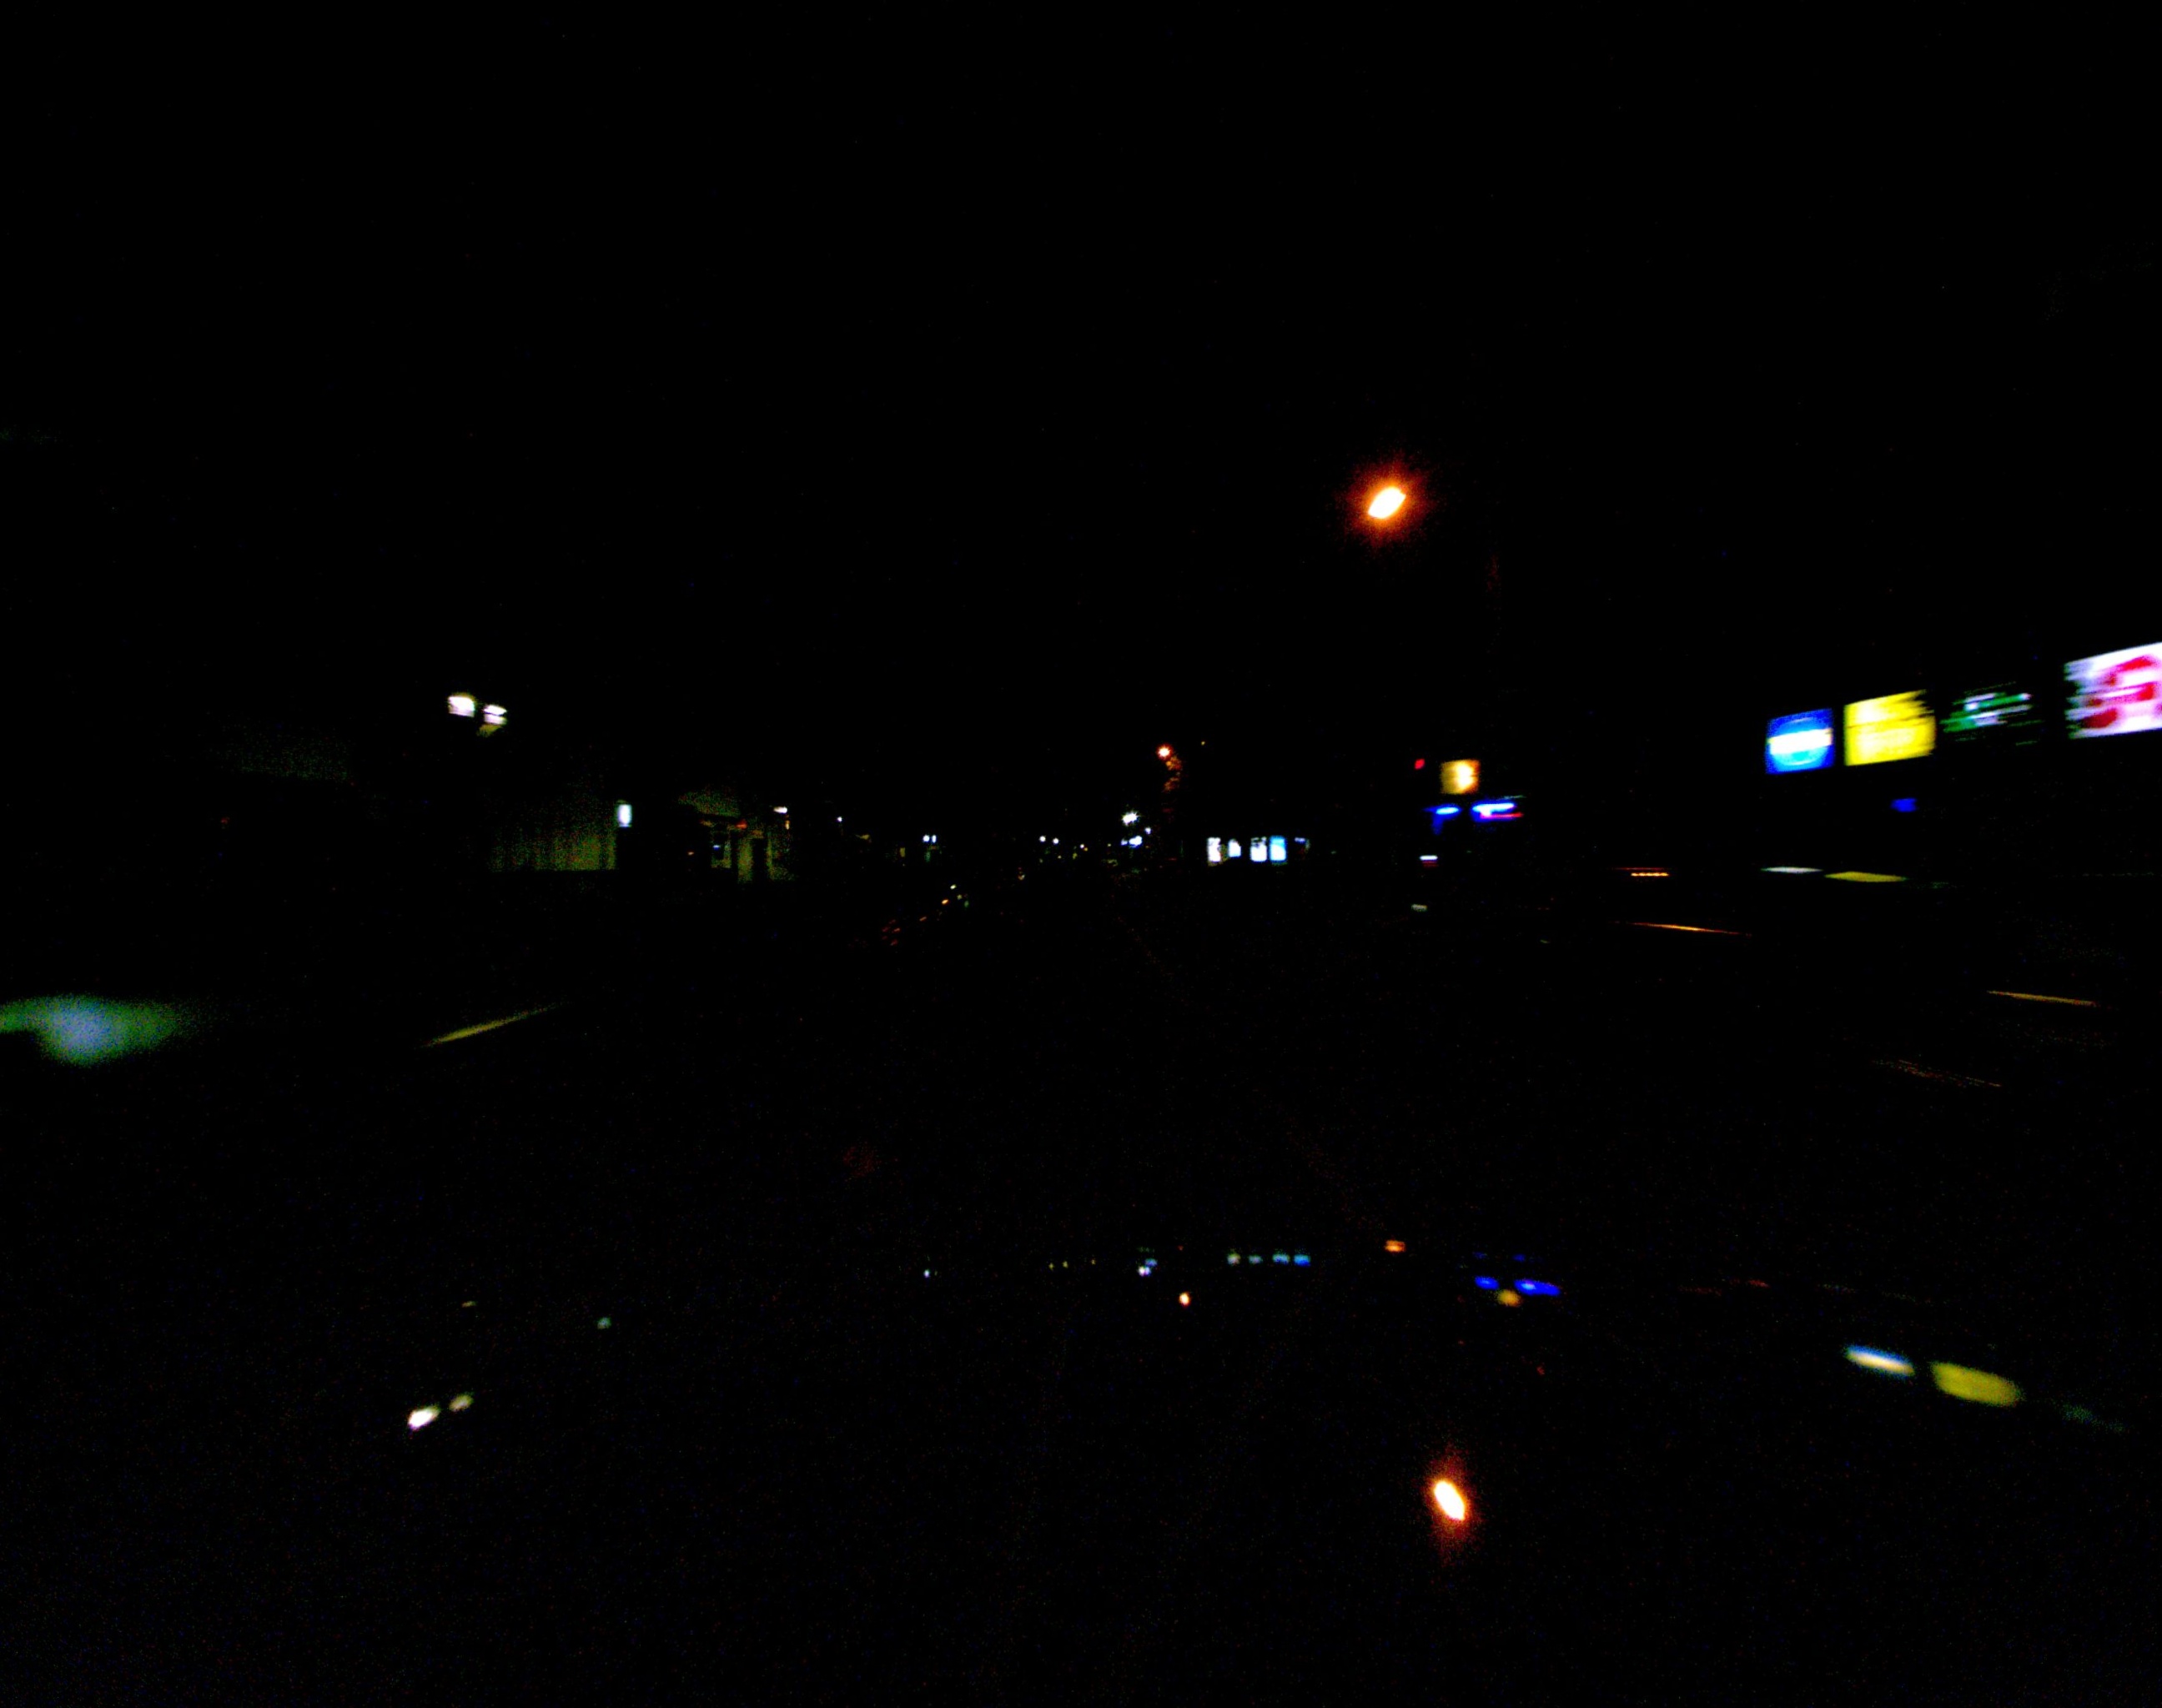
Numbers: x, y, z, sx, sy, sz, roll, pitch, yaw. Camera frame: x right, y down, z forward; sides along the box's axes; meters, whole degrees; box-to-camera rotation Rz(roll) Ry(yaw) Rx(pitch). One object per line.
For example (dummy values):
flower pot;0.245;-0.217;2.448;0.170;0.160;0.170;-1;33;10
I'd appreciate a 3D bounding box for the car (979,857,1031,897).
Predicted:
car;-3.035;0.889;31.144;1.694;1.528;4.015;0;0;0

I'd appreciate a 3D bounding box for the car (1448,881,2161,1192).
car;4.931;1.021;6.150;1.745;1.405;4.495;-1;0;0

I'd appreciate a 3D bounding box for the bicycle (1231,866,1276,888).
bicycle;7.629;0.999;33.595;1.855;0.962;0.501;0;0;-1

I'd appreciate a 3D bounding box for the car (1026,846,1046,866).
car;-5.418;0.200;91.538;2.141;2.313;5.148;0;0;-7

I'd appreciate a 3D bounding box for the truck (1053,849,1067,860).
truck;-4.254;0.158;153.020;2.109;2.230;6.289;0;0;4

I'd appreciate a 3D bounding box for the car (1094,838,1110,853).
car;2.810;-1.079;103.531;1.930;1.954;5.076;-2;0;-1

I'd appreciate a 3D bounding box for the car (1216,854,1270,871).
car;13.986;0.731;65.770;4.340;1.389;1.803;-1;0;-1

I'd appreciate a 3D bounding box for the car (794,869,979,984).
car;-2.893;1.007;12.446;1.768;1.406;4.807;0;0;0

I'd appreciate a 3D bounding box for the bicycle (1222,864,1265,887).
bicycle;7.680;1.030;35.909;1.855;0.994;0.532;-2;0;-1

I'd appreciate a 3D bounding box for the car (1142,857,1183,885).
car;4.677;0.947;44.211;1.811;1.416;4.920;-2;0;0

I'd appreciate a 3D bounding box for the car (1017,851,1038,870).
car;-5.101;0.586;72.924;1.793;1.811;4.579;0;0;-1

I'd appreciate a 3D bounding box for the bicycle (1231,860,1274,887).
bicycle;7.793;0.882;34.606;1.855;1.246;0.532;0;0;-1

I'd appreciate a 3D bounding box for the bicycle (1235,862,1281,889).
bicycle;7.685;0.920;33.049;1.855;1.159;0.532;0;0;-1

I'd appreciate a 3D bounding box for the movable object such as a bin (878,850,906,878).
movable object such as a bin;-9.413;0.501;37.844;1.163;1.363;0.993;-1;0;-2

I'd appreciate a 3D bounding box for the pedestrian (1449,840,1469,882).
pedestrian;14.976;0.284;30.139;0.479;1.627;0.632;0;1;0

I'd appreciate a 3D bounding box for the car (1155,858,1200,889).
car;4.920;0.987;39.119;1.726;1.420;3.976;-2;0;0

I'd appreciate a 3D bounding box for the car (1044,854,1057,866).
car;-4.720;0.971;117.232;1.912;1.792;4.936;0;0;-1

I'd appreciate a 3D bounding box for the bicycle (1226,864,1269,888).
bicycle;7.734;1.012;35.294;1.855;1.029;0.532;-2;0;-1

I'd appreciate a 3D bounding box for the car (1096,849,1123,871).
car;2.797;0.556;75.344;1.858;2.075;5.087;-2;0;-6

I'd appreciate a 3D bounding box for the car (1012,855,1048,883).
car;-2.974;0.843;44.708;1.774;1.528;4.216;2;0;0

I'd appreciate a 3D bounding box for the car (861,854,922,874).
car;-14.725;0.769;59.236;4.327;1.523;1.802;0;2;-1

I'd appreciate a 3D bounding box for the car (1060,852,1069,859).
car;-3.644;0.236;167.565;1.737;1.492;4.001;0;0;4

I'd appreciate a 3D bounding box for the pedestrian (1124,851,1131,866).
pedestrian;5.547;0.528;90.343;0.720;1.795;0.716;0;1;0
